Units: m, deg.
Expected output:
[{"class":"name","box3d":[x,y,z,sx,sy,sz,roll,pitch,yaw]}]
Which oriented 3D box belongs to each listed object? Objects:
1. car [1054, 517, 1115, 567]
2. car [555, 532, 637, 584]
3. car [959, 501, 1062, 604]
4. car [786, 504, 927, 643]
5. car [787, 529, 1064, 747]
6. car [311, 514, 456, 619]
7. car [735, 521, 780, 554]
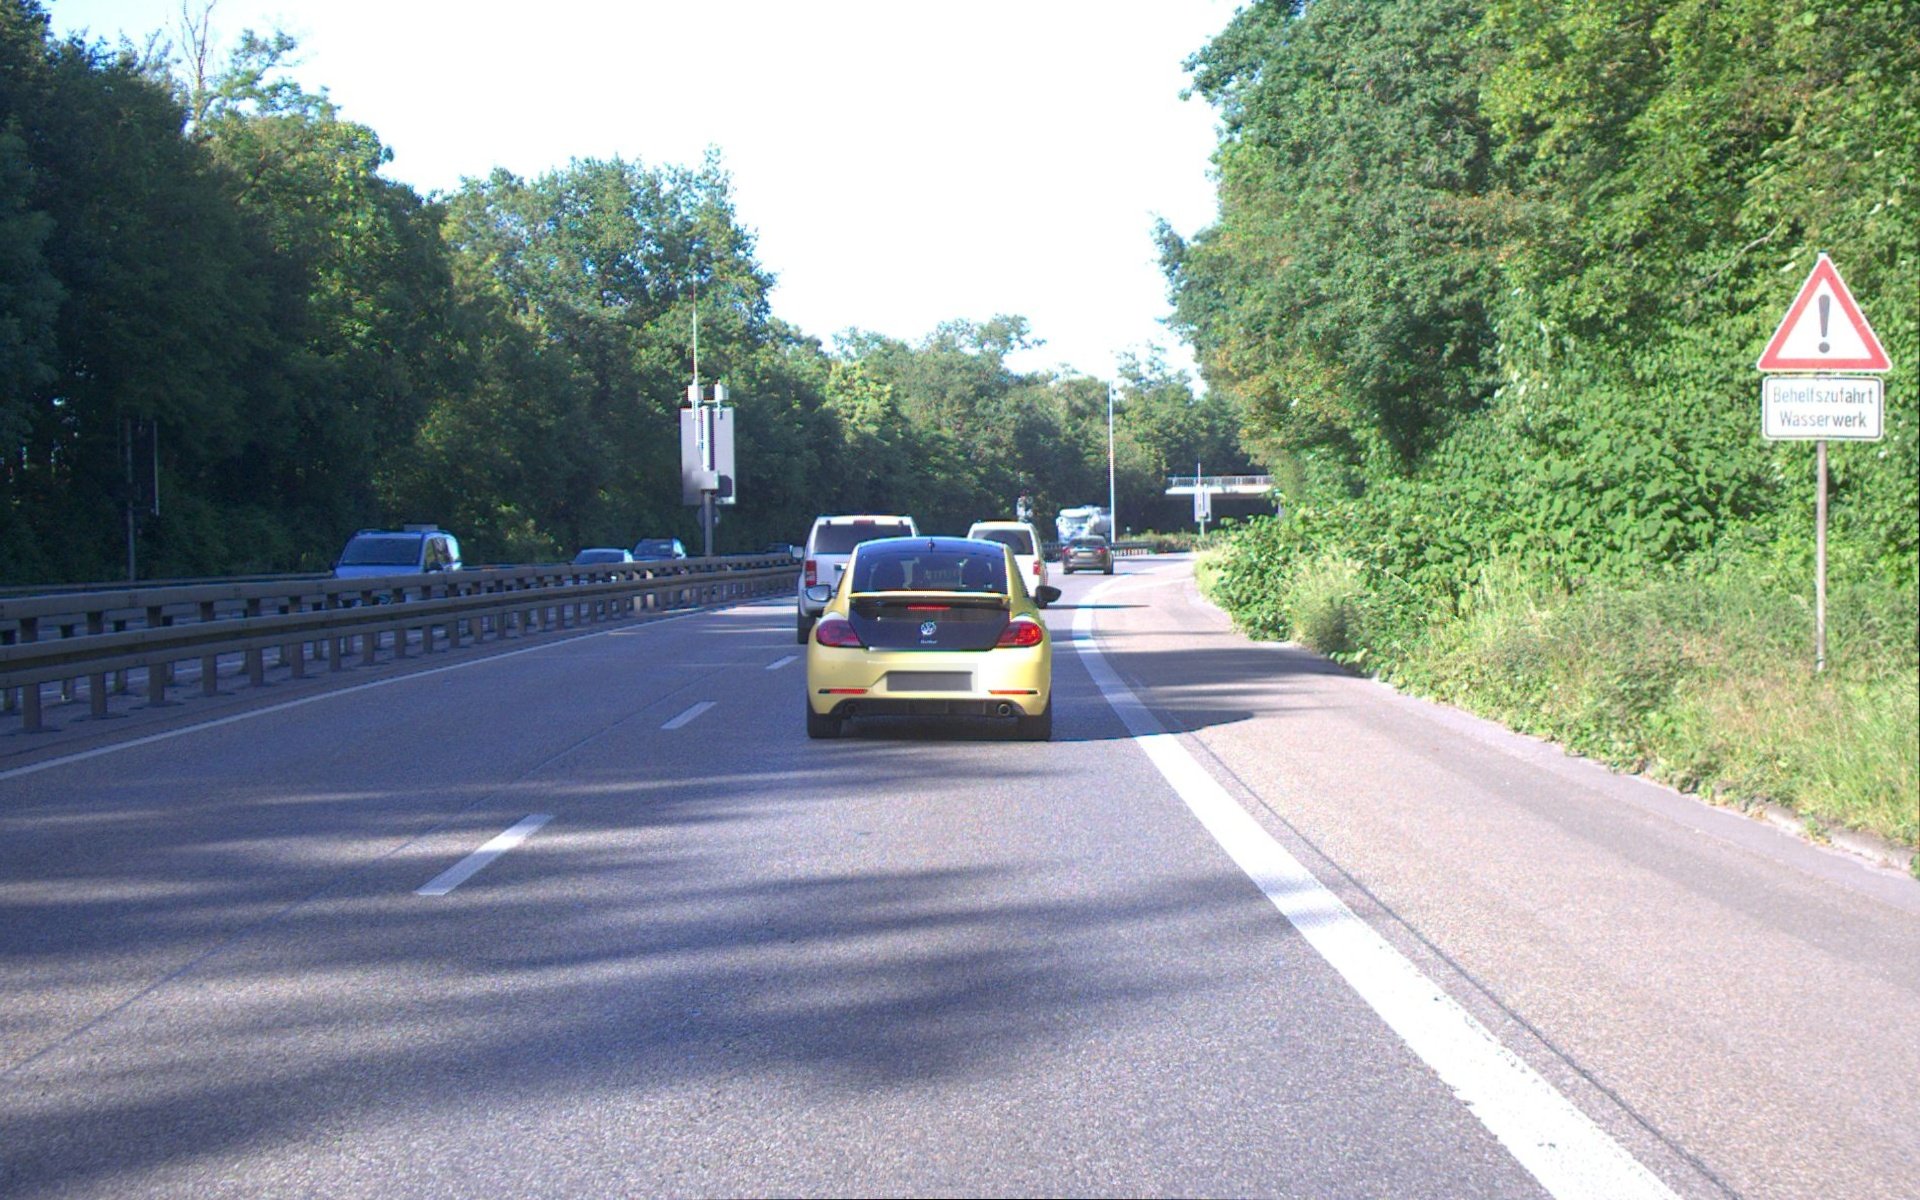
[{"class":"car","box3d":[4.776,-2.239,131.729,2.263,1.869,5.076,1,2,2]},{"class":"car","box3d":[-10.109,-1.176,95.767,1.597,1.309,3.909,-2,1,3]},{"class":"car","box3d":[1.027,-1.006,71.657,1.993,2.006,4.000,-3,1,0]},{"class":"car","box3d":[-1.395,-0.398,47.524,1.741,1.823,3.422,1,1,1]},{"class":"car","box3d":[-0.260,0.231,25.880,1.939,1.503,3.423,0,1,-1]},{"class":"car","box3d":[-11.304,-0.702,67.769,1.887,1.896,5.416,-3,1,0]},{"class":"car","box3d":[-9.412,-2.917,160.052,1.597,1.475,3.909,-1,2,3]}]
